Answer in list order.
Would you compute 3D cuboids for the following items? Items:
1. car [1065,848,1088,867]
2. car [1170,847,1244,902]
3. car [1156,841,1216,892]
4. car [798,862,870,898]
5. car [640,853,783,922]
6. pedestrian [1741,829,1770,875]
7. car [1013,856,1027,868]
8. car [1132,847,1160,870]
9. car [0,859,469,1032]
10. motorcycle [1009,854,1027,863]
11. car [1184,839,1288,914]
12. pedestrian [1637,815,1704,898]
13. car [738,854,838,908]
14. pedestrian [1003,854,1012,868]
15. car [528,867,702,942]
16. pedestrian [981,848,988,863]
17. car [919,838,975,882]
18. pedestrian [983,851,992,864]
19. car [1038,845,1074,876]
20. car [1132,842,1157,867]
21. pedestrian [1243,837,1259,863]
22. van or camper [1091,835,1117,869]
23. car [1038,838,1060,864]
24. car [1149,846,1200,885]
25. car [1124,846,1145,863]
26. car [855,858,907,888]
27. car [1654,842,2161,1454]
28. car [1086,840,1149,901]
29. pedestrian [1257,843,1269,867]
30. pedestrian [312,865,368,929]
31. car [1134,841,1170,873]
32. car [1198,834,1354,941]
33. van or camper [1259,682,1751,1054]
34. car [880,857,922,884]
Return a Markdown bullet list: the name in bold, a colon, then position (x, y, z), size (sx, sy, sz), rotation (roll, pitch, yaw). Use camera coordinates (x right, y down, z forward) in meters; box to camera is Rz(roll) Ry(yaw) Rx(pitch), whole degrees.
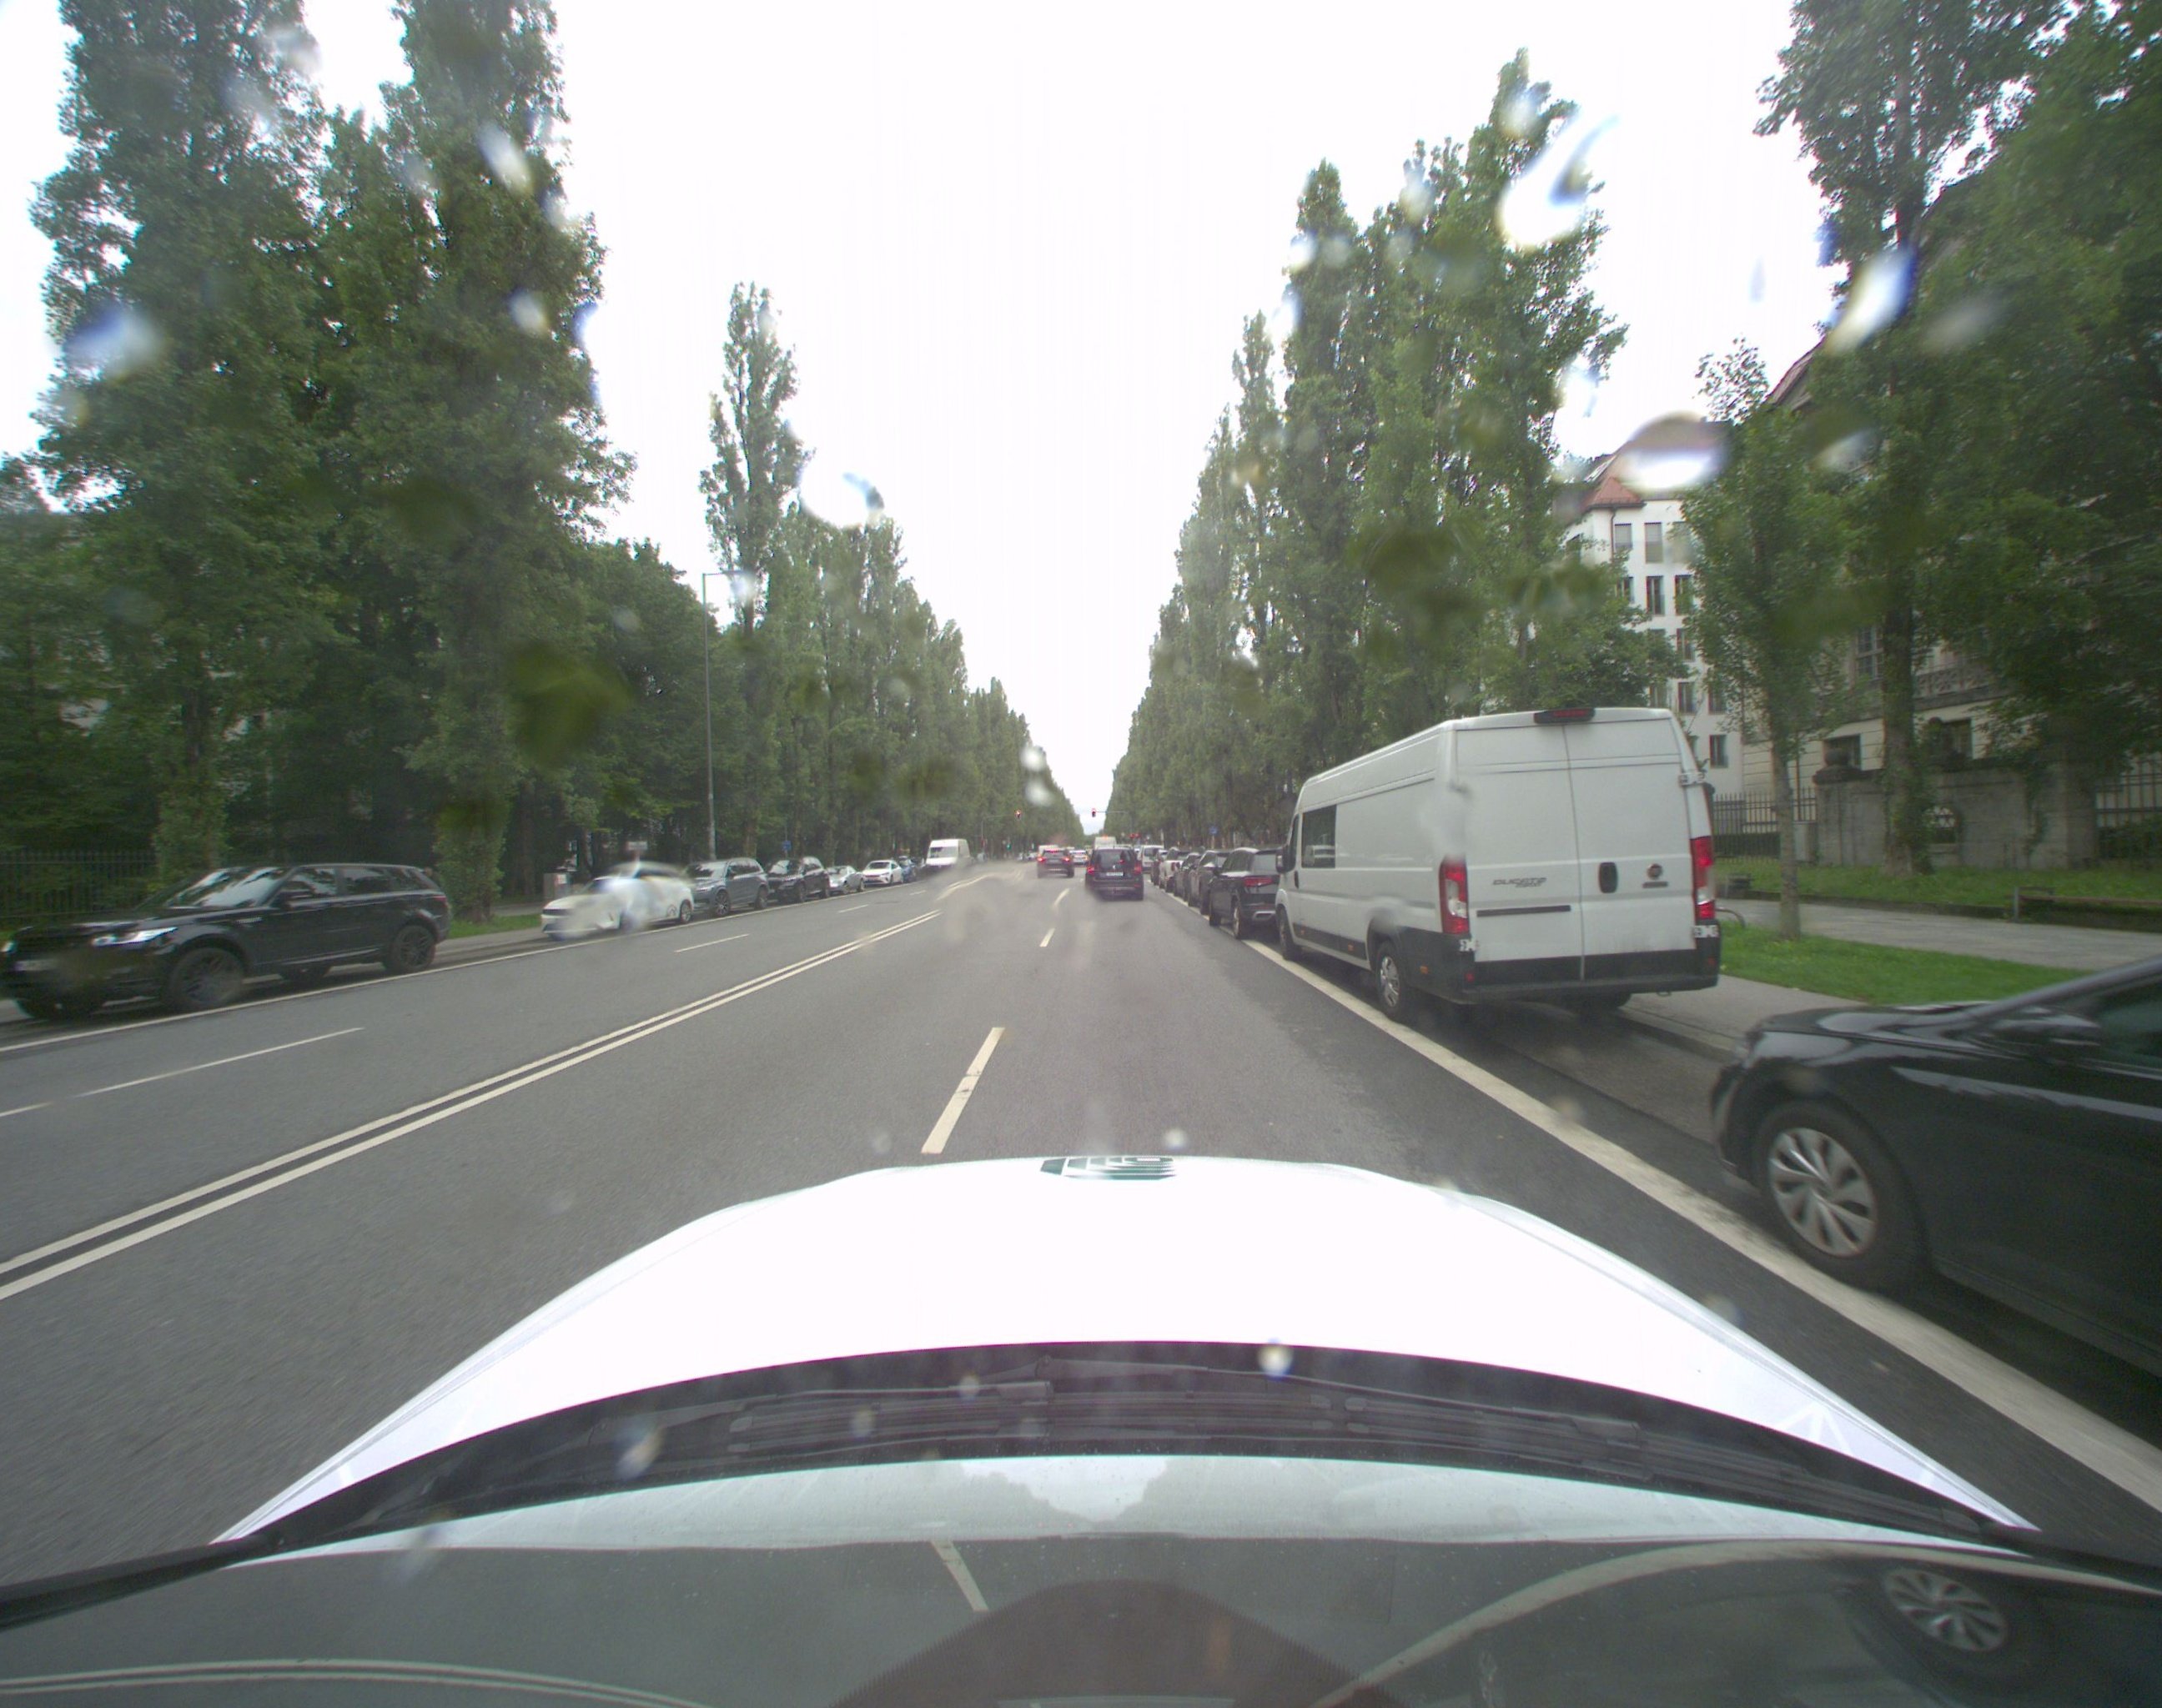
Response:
- **car**: position (-0.347, 0.308, 74.163), size (1.987, 1.560, 4.000), rotation (-2, 1, 0)
- **car**: position (3.835, 0.572, 25.386), size (1.696, 1.519, 4.296), rotation (-2, 0, 1)
- **car**: position (3.826, 0.410, 30.319), size (1.736, 1.675, 4.581), rotation (-2, 0, 1)
- **car**: position (-11.098, 1.122, 36.889), size (1.820, 1.334, 4.234), rotation (-4, 0, 1)
- **car**: position (-11.338, 0.950, 25.490), size (1.903, 1.789, 5.181), rotation (-4, 0, 1)
- **pedestrian**: position (27.533, -0.086, 33.261), size (0.636, 1.862, 0.602), rotation (-2, 0, -7)
- **car**: position (-9.218, 1.205, 122.479), size (1.682, 1.783, 3.776), rotation (-2, 0, 1)
- **car**: position (4.732, 0.313, 59.795), size (1.734, 1.593, 4.213), rotation (-2, 0, 1)
- **car**: position (-11.629, 1.065, 11.533), size (2.038, 1.786, 4.802), rotation (-4, 0, 2)
- **motorcycle**: position (-8.823, 0.615, 114.085), size (2.355, 1.269, 0.930), rotation (-1, 0, 1)
- **car**: position (3.720, 0.477, 20.358), size (1.777, 1.618, 4.639), rotation (-2, 0, 1)
- **pedestrian**: position (13.003, 0.043, 17.996), size (0.792, 1.768, 0.895), rotation (-2, 0, 0)
- **car**: position (-11.123, 0.941, 31.358), size (1.935, 1.767, 4.895), rotation (-4, 0, 0)
- **pedestrian**: position (-9.997, 0.957, 110.732), size (0.967, 1.767, 0.678), rotation (-2, 0, -21)
- **car**: position (-11.321, 1.149, 20.180), size (1.698, 1.459, 4.273), rotation (-4, 0, 1)
- **pedestrian**: position (-10.461, 0.150, 88.515), size (0.658, 1.577, 0.530), rotation (-2, 0, 2)
- **car**: position (-8.387, 0.317, 51.620), size (2.220, 2.483, 6.758), rotation (-3, 0, 1)
- **pedestrian**: position (-12.901, 0.499, 112.883), size (0.887, 1.655, 0.868), rotation (-2, 0, -36)
- **car**: position (-1.388, 0.331, 45.818), size (1.775, 1.620, 4.026), rotation (-1, 1, 1)
- **car**: position (5.080, 0.048, 65.066), size (1.729, 1.895, 4.026), rotation (-2, 0, 1)
- **pedestrian**: position (11.315, -0.269, 54.292), size (0.850, 1.717, 0.867), rotation (-3, 0, 1)
- **van or camper**: position (1.839, -0.172, 65.994), size (1.969, 2.548, 4.024), rotation (-2, 0, 0)
- **car**: position (-2.783, -0.296, 71.195), size (1.776, 2.111, 4.022), rotation (-2, 1, -2)
- **car**: position (4.062, 0.446, 35.998), size (1.873, 1.540, 4.466), rotation (-2, 0, 2)
- **car**: position (4.985, 0.051, 76.447), size (1.729, 1.475, 3.563), rotation (-2, 0, 1)
- **car**: position (-11.104, 1.040, 45.597), size (1.765, 1.452, 4.233), rotation (-4, 0, 0)
- **car**: position (3.381, 0.692, 1.604), size (1.671, 1.420, 3.999), rotation (-2, 0, 0)
- **car**: position (1.125, 0.477, 25.856), size (1.849, 1.770, 4.001), rotation (0, 0, 2)
- **pedestrian**: position (12.179, 0.040, 54.425), size (0.566, 1.578, 0.867), rotation (-2, 0, 1)
- **pedestrian**: position (-21.218, 1.212, 23.348), size (0.664, 1.741, 0.957), rotation (-2, 0, 2)
- **car**: position (4.502, 0.175, 52.350), size (1.845, 1.881, 4.167), rotation (-2, 0, -1)
- **car**: position (3.443, 0.519, 15.246), size (1.779, 1.648, 4.416), rotation (-2, 0, -1)
- **van or camper**: position (3.669, 0.085, 8.912), size (2.131, 2.540, 6.419), rotation (-2, 0, 1)
- **car**: position (-10.958, 0.989, 49.787), size (1.704, 1.451, 3.585), rotation (-4, 0, 0)
